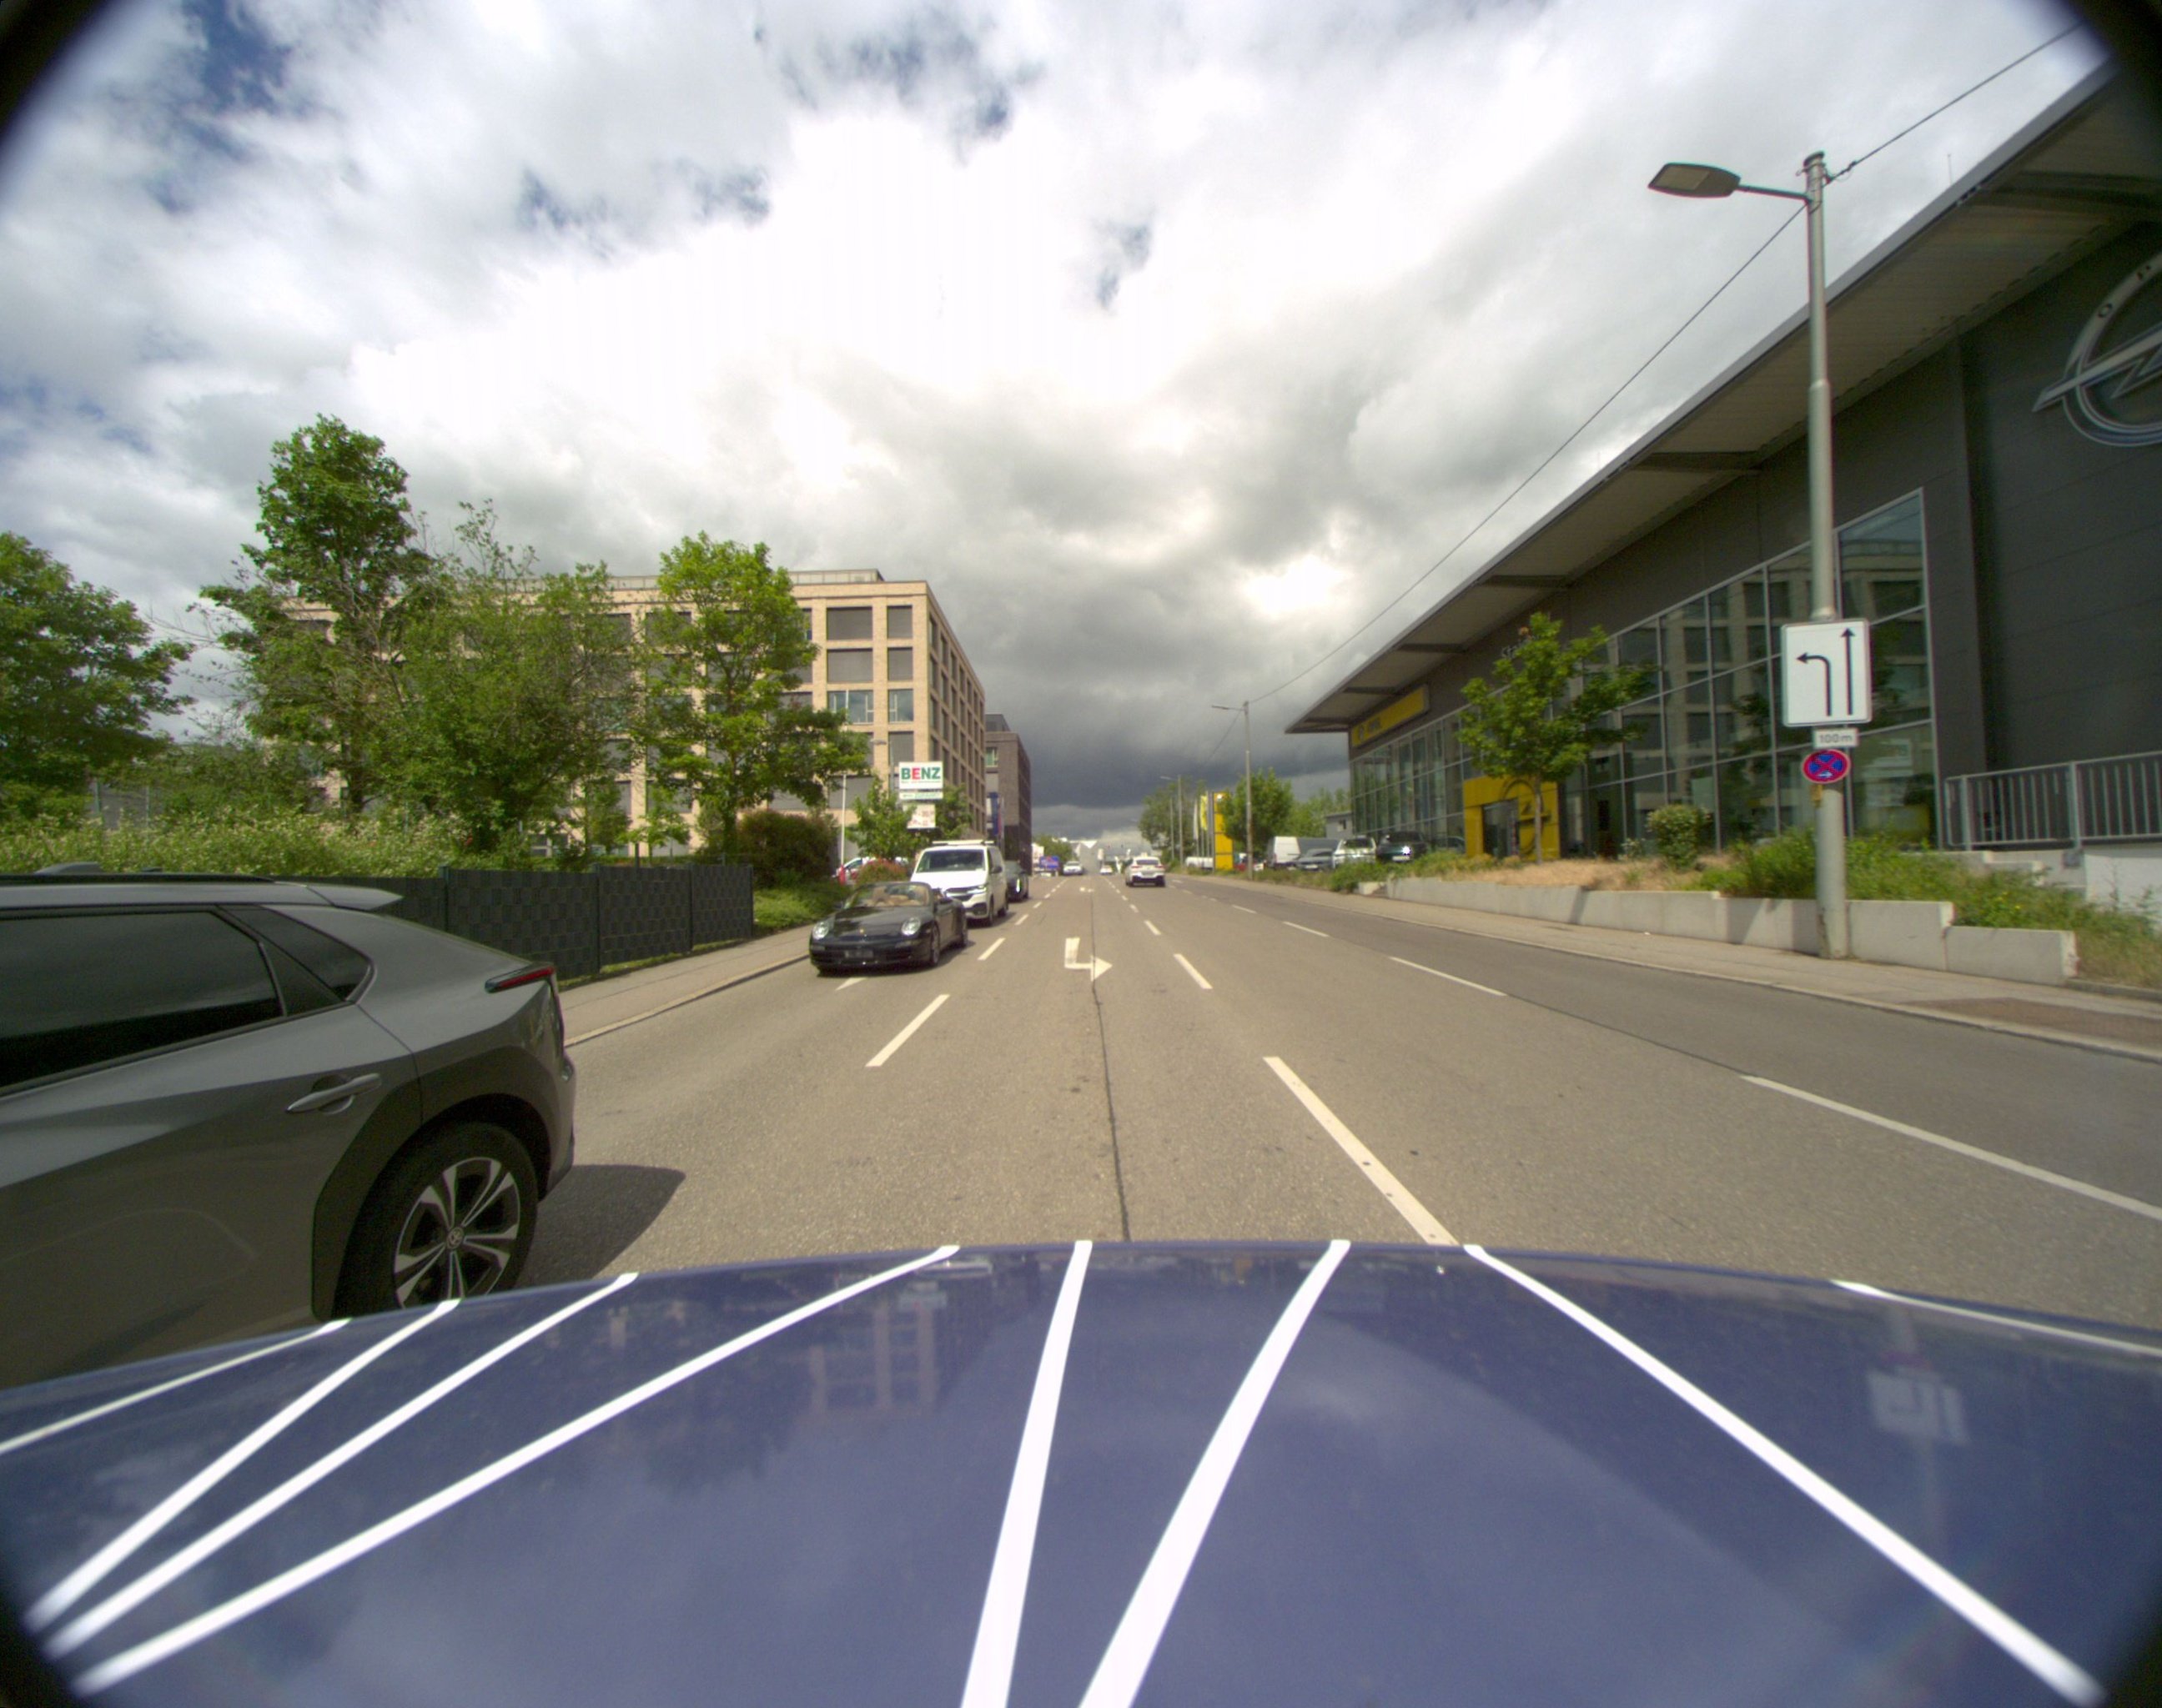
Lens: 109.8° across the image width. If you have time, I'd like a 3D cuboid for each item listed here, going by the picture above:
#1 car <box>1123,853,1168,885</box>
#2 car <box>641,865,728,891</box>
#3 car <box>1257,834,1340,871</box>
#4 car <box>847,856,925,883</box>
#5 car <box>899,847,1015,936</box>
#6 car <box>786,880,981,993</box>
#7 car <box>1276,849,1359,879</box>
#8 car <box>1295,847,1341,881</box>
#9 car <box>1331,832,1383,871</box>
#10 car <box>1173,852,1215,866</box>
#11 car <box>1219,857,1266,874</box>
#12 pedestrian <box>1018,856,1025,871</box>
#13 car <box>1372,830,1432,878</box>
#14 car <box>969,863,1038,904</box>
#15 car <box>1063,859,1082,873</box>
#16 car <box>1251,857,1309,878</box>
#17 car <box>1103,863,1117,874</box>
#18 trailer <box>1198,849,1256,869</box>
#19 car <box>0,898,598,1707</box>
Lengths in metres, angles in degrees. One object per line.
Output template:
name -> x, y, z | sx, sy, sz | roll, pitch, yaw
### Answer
car -> 3.329, 0.757, 39.957 | 1.832, 1.543, 4.305 | -1, 0, -2
car -> -23.374, 1.410, 44.933 | 4.219, 1.410, 1.735 | -1, 0, -1
car -> 13.630, -0.116, 47.779 | 4.531, 2.182, 2.179 | -1, 1, -1
car -> -11.638, 0.919, 45.487 | 4.220, 1.567, 1.735 | -1, 0, -4
car -> -2.900, 0.829, 18.815 | 1.964, 1.840, 4.645 | -3, 0, 1
car -> -2.898, 1.169, 12.279 | 1.777, 1.267, 4.569 | -3, 0, 2
car -> 13.340, 0.566, 43.008 | 4.108, 1.604, 1.797 | -1, 0, -8
car -> 12.213, 0.489, 38.998 | 1.794, 1.604, 4.116 | -1, 0, 24
car -> 12.274, -0.125, 33.609 | 1.793, 1.604, 4.115 | -1, 1, 25
car -> 12.520, 0.572, 84.448 | 4.252, 1.473, 2.095 | -1, 0, -2
car -> 13.711, 0.972, 64.791 | 3.669, 1.401, 1.815 | -1, 0, 2
pedestrian -> -5.968, 0.953, 76.248 | 0.578, 1.497, 0.542 | -1, 1, 1
car -> 12.194, -0.045, 28.726 | 1.817, 1.604, 4.115 | 0, 2, 27
car -> -2.773, 1.040, 28.193 | 1.777, 1.267, 4.569 | -1, 0, 4
car -> -0.907, 1.265, 82.319 | 1.866, 1.398, 4.000 | -1, 0, 1
car -> 14.967, 1.013, 57.280 | 3.946, 1.518, 1.561 | -1, 0, -2
car -> 4.517, 2.256, 118.783 | 1.924, 1.604, 4.415 | -2, 1, 0
trailer -> 13.152, 0.459, 68.676 | 4.835, 1.742, 2.095 | -1, 0, -3
car -> -2.996, 1.016, 0.754 | 1.924, 1.604, 4.683 | -3, 0, 1
